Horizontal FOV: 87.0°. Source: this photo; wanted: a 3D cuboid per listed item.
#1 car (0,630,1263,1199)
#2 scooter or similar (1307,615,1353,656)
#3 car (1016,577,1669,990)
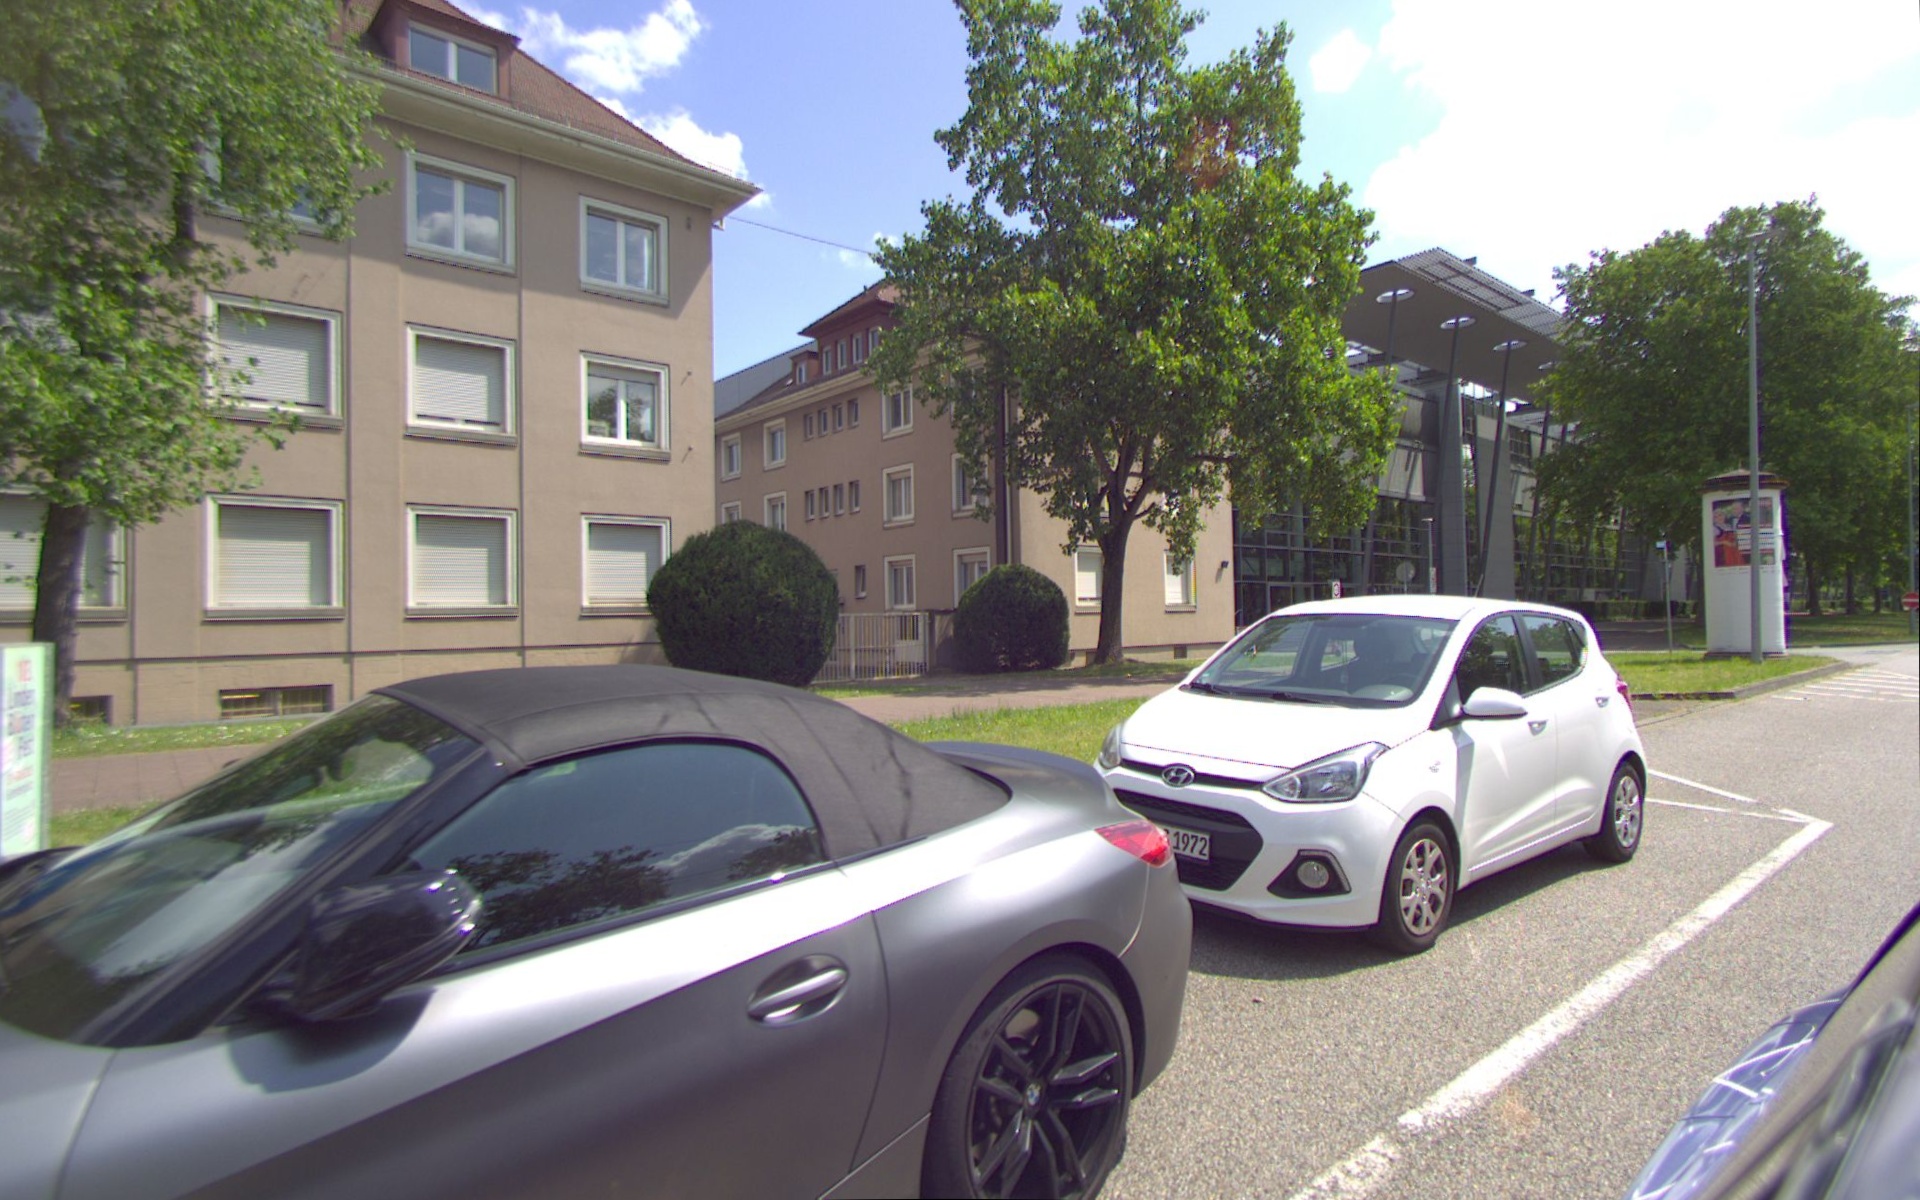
[{"bbox_3d":[-1.412,0.802,2.046,4.365,1.328,1.826,-1,-1,-41],"label":"car"},{"bbox_3d":[12.439,1.182,34.053,0.536,1.320,1.446,-1,-1,-25],"label":"scooter or similar"},{"bbox_3d":[2.259,0.650,5.537,3.722,1.498,1.711,-1,0,-40],"label":"car"}]
